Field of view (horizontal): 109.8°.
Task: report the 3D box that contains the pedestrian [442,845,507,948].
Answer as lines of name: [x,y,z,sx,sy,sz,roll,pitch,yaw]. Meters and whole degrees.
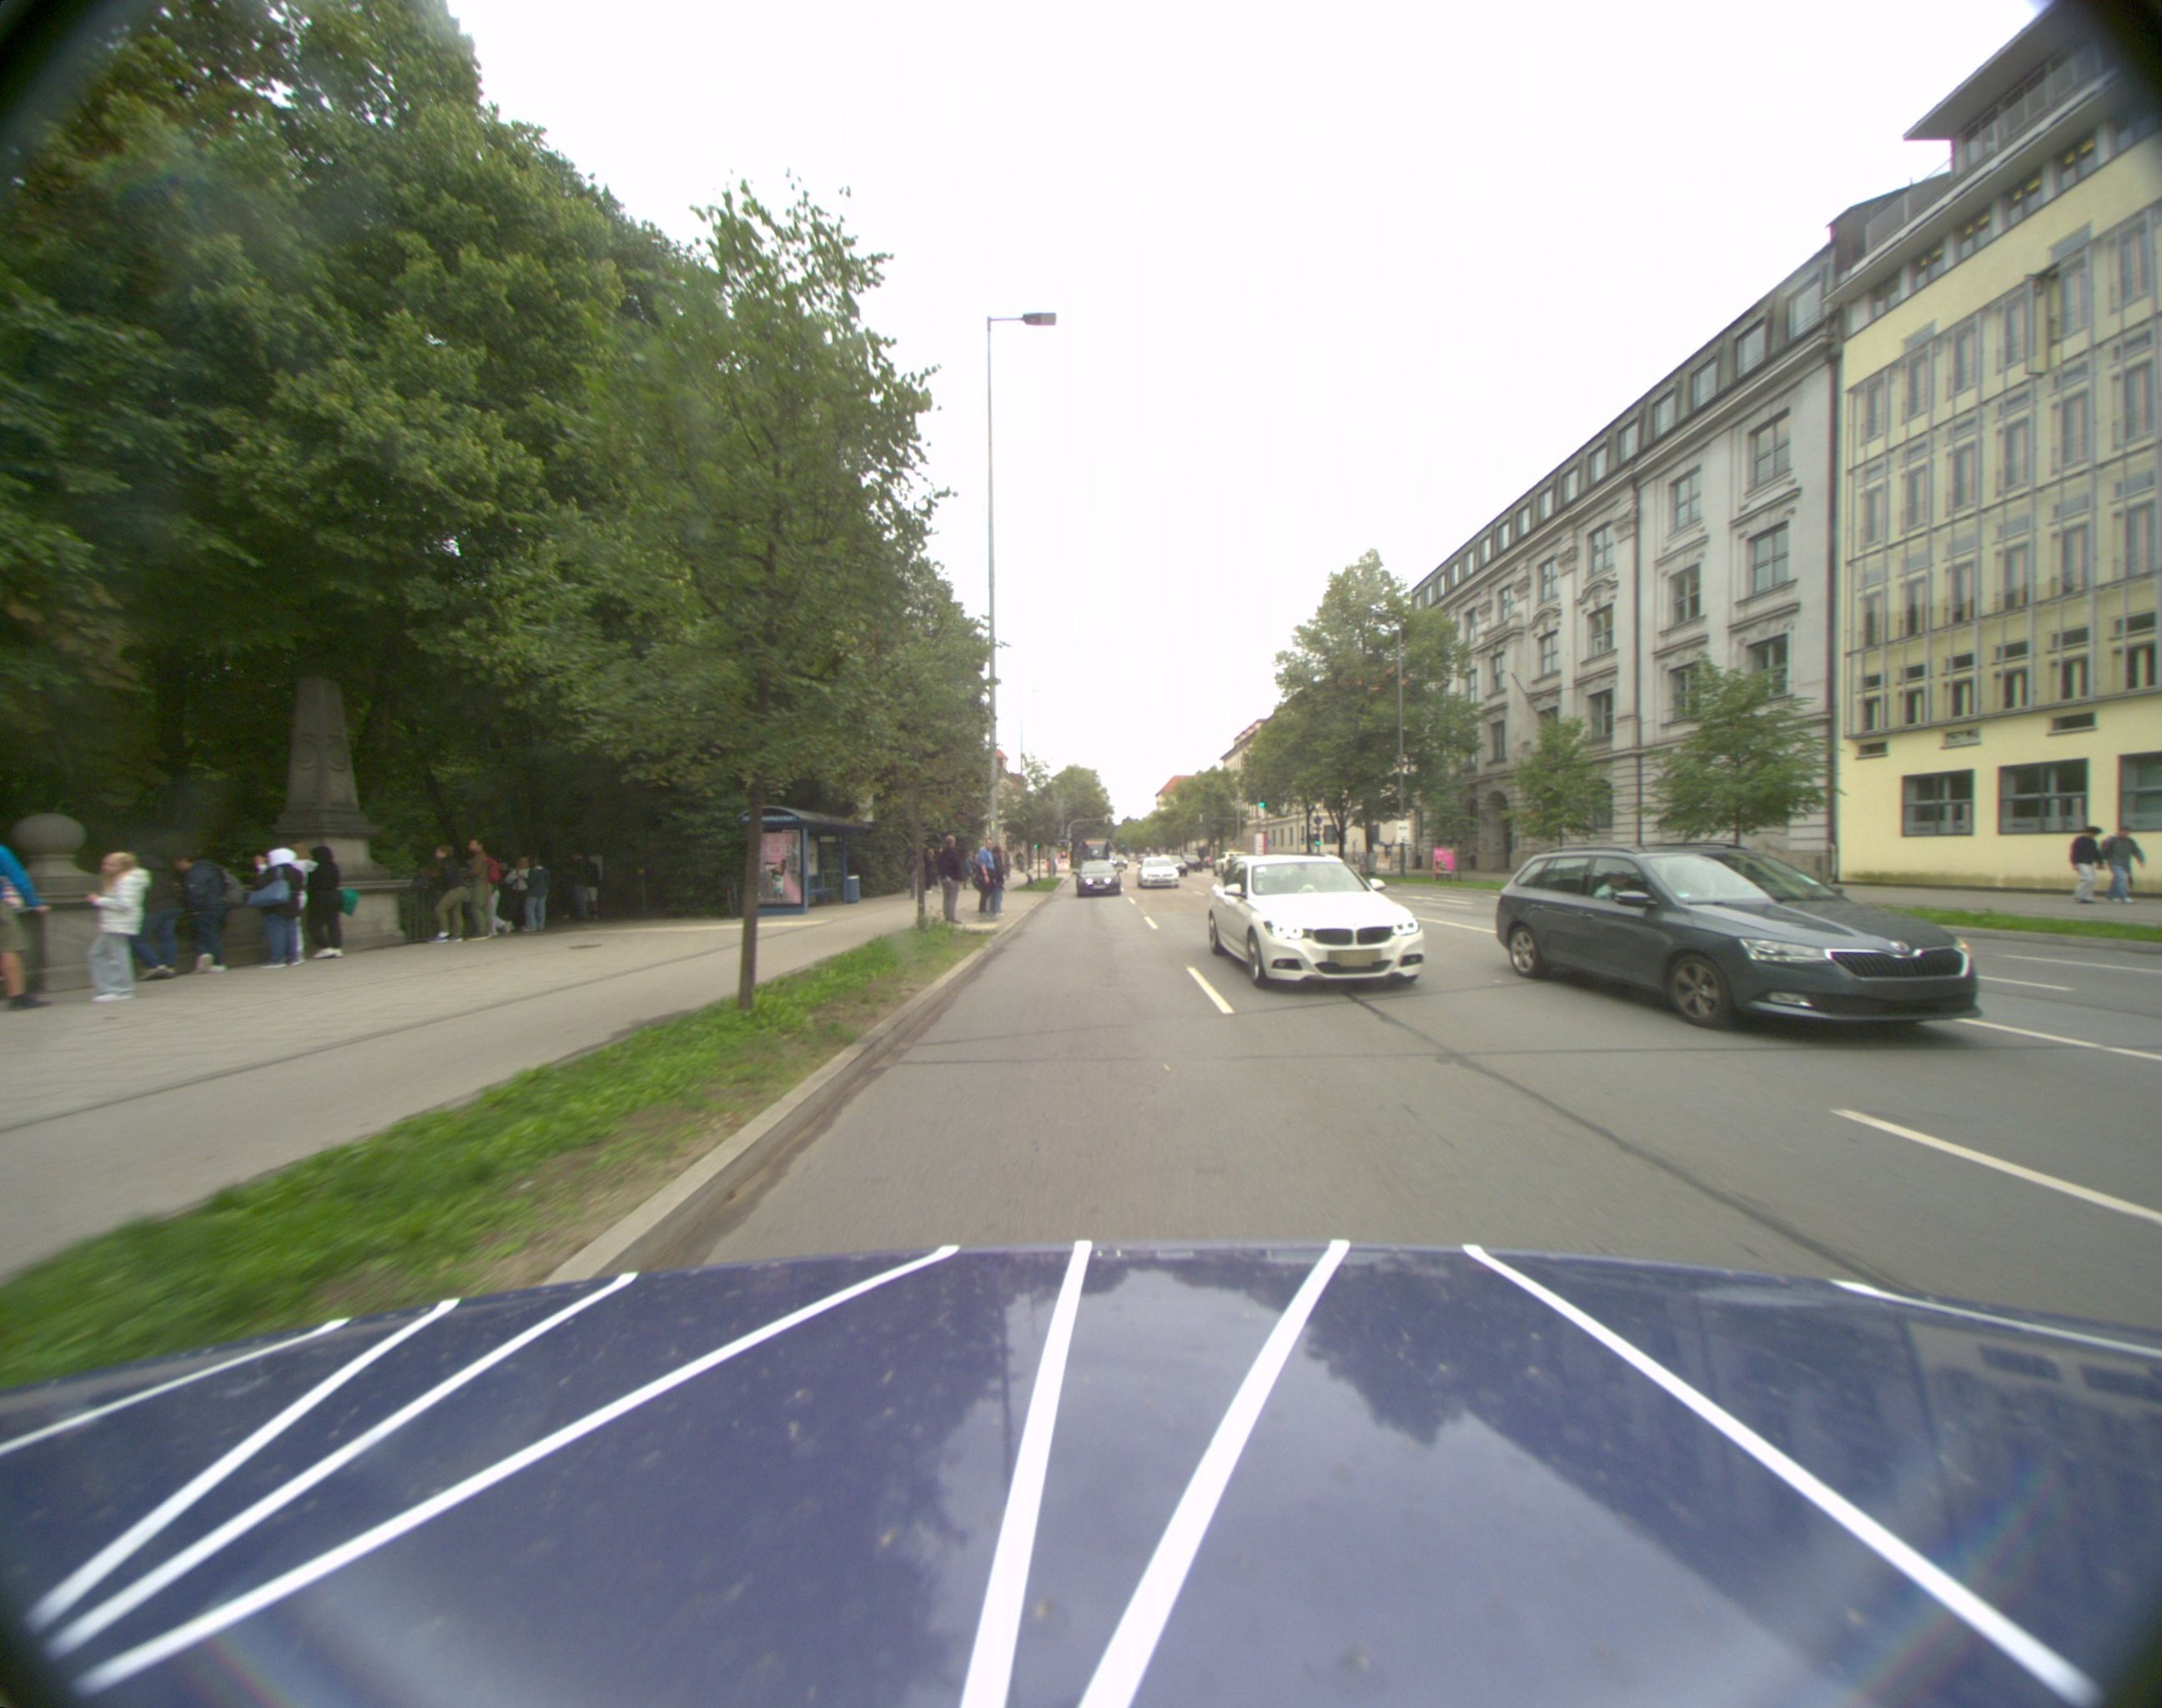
pedestrian: [-10.647,0.733,13.347,0.637,1.757,0.533,-2,1,4]

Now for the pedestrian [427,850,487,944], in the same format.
pedestrian: [-12.054,0.811,14.683,0.637,1.757,0.533,-2,1,4]

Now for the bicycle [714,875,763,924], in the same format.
bicycle: [-8.197,1.066,18.251,0.394,1.054,1.576,-2,0,1]

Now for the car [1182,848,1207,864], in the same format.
car: [10.016,0.154,67.383,1.771,1.415,4.747,1,0,3]

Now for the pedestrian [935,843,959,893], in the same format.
pedestrian: [-5.194,0.527,29.496,0.710,1.904,0.956,-2,1,1]

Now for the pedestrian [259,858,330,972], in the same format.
pedestrian: [-10.646,0.814,10.292,0.421,1.499,0.442,-2,1,4]

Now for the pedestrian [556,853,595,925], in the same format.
pedestrian: [-12.715,0.880,19.110,0.636,1.757,0.534,-1,1,33]

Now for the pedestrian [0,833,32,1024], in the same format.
pedestrian: [-10.361,0.697,6.819,0.814,1.758,0.729,-2,1,4]

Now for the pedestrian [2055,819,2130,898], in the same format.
pedestrian: [23.379,0.090,17.574,0.617,1.766,0.836,-2,1,2]

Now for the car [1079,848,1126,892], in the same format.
car: [0.845,0.604,31.269,1.797,1.627,4.274,-1,1,1]

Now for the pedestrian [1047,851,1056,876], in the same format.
pedestrian: [-2.052,0.655,53.128,0.610,1.751,0.635,1,1,-5]

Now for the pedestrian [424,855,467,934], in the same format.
pedestrian: [-14.529,0.923,17.374,0.636,1.757,0.534,-1,1,33]

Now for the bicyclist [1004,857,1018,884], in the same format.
bicyclist: [-4.353,1.033,47.282,0.759,1.657,0.898,-2,1,-7]

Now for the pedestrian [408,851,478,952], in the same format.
pedestrian: [-10.649,0.778,12.692,0.637,1.617,0.533,-2,1,4]

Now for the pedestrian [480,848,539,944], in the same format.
pedestrian: [-10.802,0.777,14.376,0.637,1.757,0.533,-2,1,4]

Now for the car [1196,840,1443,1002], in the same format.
car: [2.795,0.645,10.190,1.797,1.627,5.026,-1,1,1]

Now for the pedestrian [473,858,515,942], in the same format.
pedestrian: [-12.096,0.933,15.664,0.421,1.694,0.442,-2,1,4]

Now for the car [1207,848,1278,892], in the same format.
car: [5.894,0.537,28.191,1.695,1.507,4.338,-1,1,0]

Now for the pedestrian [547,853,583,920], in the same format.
pedestrian: [-13.902,0.876,20.483,0.636,1.757,0.534,-1,1,33]

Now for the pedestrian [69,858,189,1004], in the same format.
pedestrian: [-10.939,0.865,8.749,0.637,1.607,0.533,-2,1,4]

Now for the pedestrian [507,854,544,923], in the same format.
pedestrian: [-14.411,0.900,19.701,0.636,1.756,0.534,-1,-3,33]

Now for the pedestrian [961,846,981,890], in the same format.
pedestrian: [-4.676,0.593,32.294,0.672,1.828,0.641,-2,1,2]

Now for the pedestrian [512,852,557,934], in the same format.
pedestrian: [-12.002,0.841,16.687,0.636,1.757,0.534,-1,1,33]

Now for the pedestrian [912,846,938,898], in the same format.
pedestrian: [-5.930,0.669,28.990,0.710,1.904,0.956,-2,1,1]

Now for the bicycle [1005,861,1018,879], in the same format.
bicycle: [-4.349,0.964,47.310,0.740,1.051,2.161,-2,1,-7]

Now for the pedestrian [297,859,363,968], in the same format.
pedestrian: [-10.603,0.825,10.738,0.421,1.499,0.442,-2,1,4]

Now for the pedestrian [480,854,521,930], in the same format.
pedestrian: [-13.802,0.892,18.073,0.636,1.757,0.534,-1,1,33]

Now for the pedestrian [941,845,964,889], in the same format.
pedestrian: [-5.447,0.543,32.237,0.753,1.828,0.756,-2,1,2]

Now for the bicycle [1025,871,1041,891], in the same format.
bicycle: [-2.097,1.181,33.244,0.494,0.789,1.889,-2,1,2]

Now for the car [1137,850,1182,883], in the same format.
car: [3.679,0.558,36.227,1.797,1.439,4.274,-1,1,1]

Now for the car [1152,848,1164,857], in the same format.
car: [14.169,-0.265,139.812,1.748,1.586,4.000,1,0,1]

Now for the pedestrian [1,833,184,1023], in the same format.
pedestrian: [-9.973,0.720,7.698,0.814,1.818,0.729,-2,1,4]

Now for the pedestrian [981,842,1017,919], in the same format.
pedestrian: [-1.961,0.632,18.294,0.710,1.798,0.639,-2,1,1]

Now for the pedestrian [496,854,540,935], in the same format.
pedestrian: [-12.585,0.891,16.989,0.636,1.757,0.534,-1,1,33]

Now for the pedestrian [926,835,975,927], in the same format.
pedestrian: [-2.735,0.550,15.960,0.804,1.870,0.545,-1,1,37]

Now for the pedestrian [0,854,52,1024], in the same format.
pedestrian: [-11.019,0.861,7.727,0.421,1.694,0.442,-2,1,3]

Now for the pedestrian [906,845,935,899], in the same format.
pedestrian: [-5.465,0.605,25.919,0.710,1.798,0.950,-2,1,1]

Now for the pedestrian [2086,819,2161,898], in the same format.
pedestrian: [24.087,0.104,17.549,0.617,1.766,0.836,-2,1,2]

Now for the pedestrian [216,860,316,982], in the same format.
pedestrian: [-10.444,0.839,9.756,0.637,1.499,0.533,-2,1,4]

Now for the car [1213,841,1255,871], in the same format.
car: [9.574,0.119,47.865,1.861,1.738,4.630,1,0,2]

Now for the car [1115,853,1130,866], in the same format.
car: [5.008,0.660,91.194,1.638,1.562,3.946,0,0,1]

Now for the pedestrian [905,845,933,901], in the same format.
pedestrian: [-5.313,0.619,24.965,0.710,1.798,0.639,-2,1,1]

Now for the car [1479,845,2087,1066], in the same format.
car: [5.738,0.644,7.147,1.797,1.439,4.274,-1,1,1]

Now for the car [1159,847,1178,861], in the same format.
car: [10.273,0.036,89.150,1.832,1.533,4.825,0,-1,2]

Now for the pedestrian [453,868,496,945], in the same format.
pedestrian: [-12.120,1.045,15.195,0.421,1.499,0.442,-2,1,4]

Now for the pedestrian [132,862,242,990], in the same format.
pedestrian: [-10.864,0.858,9.252,0.637,1.499,0.533,-2,1,4]

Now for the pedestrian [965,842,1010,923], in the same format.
pedestrian: [-2.149,0.638,17.502,0.637,1.798,0.711,-1,1,37]

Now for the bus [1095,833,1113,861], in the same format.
bus: [2.150,-0.628,72.615,1.638,2.570,6.702,0,0,1]
